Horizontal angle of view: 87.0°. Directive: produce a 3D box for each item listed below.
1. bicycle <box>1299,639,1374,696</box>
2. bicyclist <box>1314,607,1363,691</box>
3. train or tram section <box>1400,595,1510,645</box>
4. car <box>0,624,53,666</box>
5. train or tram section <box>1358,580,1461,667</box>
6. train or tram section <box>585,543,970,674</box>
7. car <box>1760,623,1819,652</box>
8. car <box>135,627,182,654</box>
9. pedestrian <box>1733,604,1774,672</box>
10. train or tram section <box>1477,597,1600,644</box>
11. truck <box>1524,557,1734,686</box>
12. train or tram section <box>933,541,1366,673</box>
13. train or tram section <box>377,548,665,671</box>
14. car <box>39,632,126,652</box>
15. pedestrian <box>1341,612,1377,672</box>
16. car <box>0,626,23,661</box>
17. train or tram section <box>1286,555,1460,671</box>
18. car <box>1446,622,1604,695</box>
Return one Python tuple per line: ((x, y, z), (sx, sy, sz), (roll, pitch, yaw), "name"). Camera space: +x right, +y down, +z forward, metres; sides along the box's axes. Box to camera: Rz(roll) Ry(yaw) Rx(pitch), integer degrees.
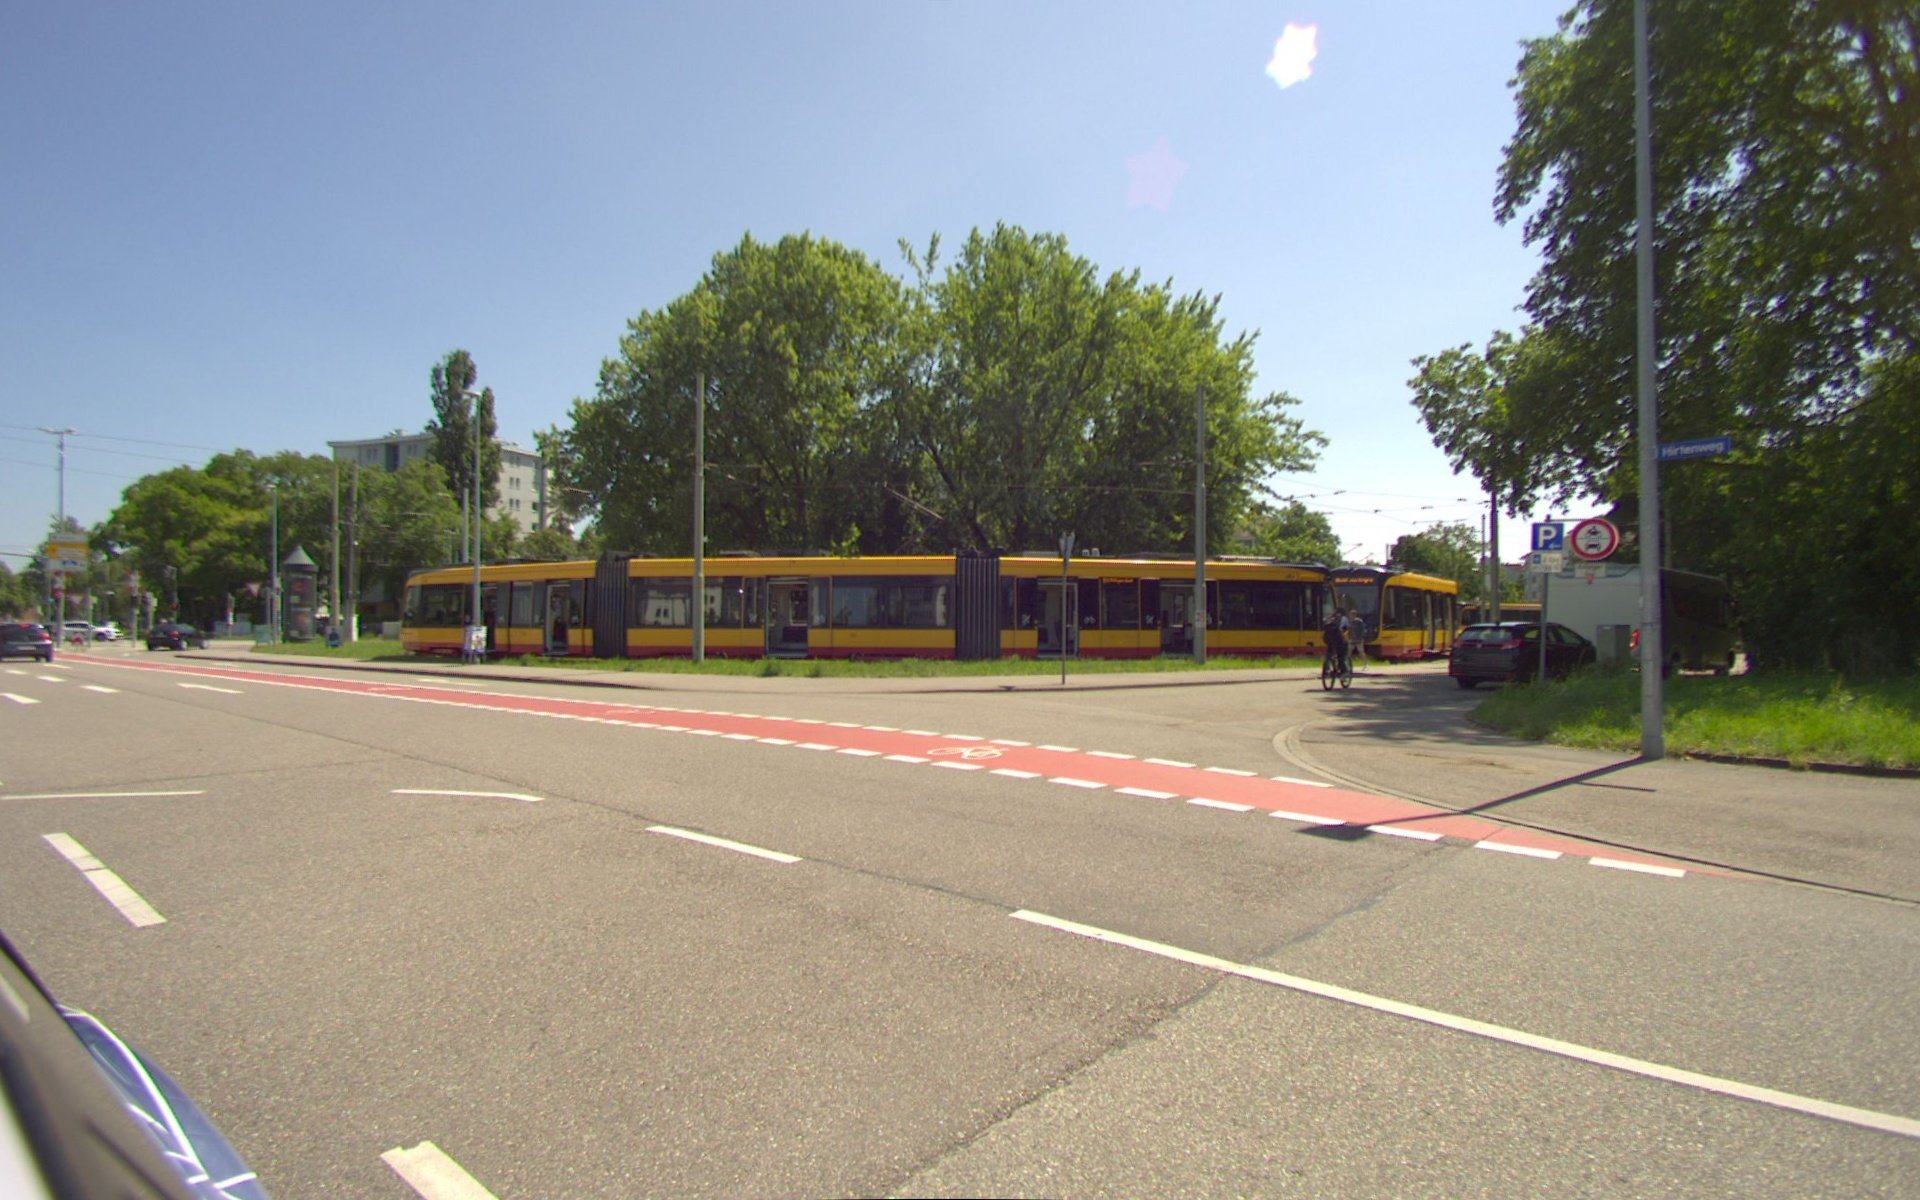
((7.904, 1.392, 21.194), (2.015, 1.063, 0.671), (-1, -1, -45), "bicycle")
((7.956, 1.020, 21.266), (0.758, 1.719, 0.667), (0, -1, -45), "bicyclist")
((45.866, 1.965, 93.547), (12.535, 4.287, 3.034), (2, -3, -33), "train or tram section")
((-35.160, 1.658, 37.681), (3.499, 1.467, 1.605), (-1, -3, 41), "car")
((22.467, 1.373, 51.390), (3.000, 3.788, 14.112), (-1, -3, 17), "train or tram section")
((-5.579, 0.333, 31.671), (11.484, 3.788, 3.017), (0, -3, 9), "train or tram section")
((48.830, 2.179, 59.561), (4.148, 1.630, 1.829), (1, -2, -39), "car")
((-44.662, 2.282, 56.435), (1.720, 1.416, 4.451), (2, -4, -35), "car")
((20.628, 0.973, 26.319), (0.665, 1.741, 0.659), (1, -2, -39), "pedestrian")
((56.635, 2.096, 99.035), (12.529, 4.287, 3.035), (1, -3, -21), "train or tram section")
((17.589, 0.544, 26.401), (7.225, 2.932, 2.572), (1, -1, -40), "truck")
((6.209, 0.379, 32.547), (13.808, 3.788, 3.035), (1, -3, -17), "train or tram section")
((-15.974, 0.521, 36.071), (12.961, 3.788, 2.990), (-2, -3, 35), "train or tram section")
((-63.089, 3.002, 72.864), (4.336, 1.399, 1.881), (0, -3, -18), "car")
((11.674, 1.235, 29.612), (0.851, 1.723, 0.802), (-2, -2, 27), "pedestrian")
((-41.566, 1.847, 43.189), (4.282, 1.468, 1.742), (-2, -2, 40), "car")
((16.517, 0.750, 39.481), (3.020, 3.788, 14.020), (-2, -4, 36), "train or tram section")
((12.368, 1.215, 22.035), (4.245, 1.428, 1.669), (2, -1, -41), "car")
